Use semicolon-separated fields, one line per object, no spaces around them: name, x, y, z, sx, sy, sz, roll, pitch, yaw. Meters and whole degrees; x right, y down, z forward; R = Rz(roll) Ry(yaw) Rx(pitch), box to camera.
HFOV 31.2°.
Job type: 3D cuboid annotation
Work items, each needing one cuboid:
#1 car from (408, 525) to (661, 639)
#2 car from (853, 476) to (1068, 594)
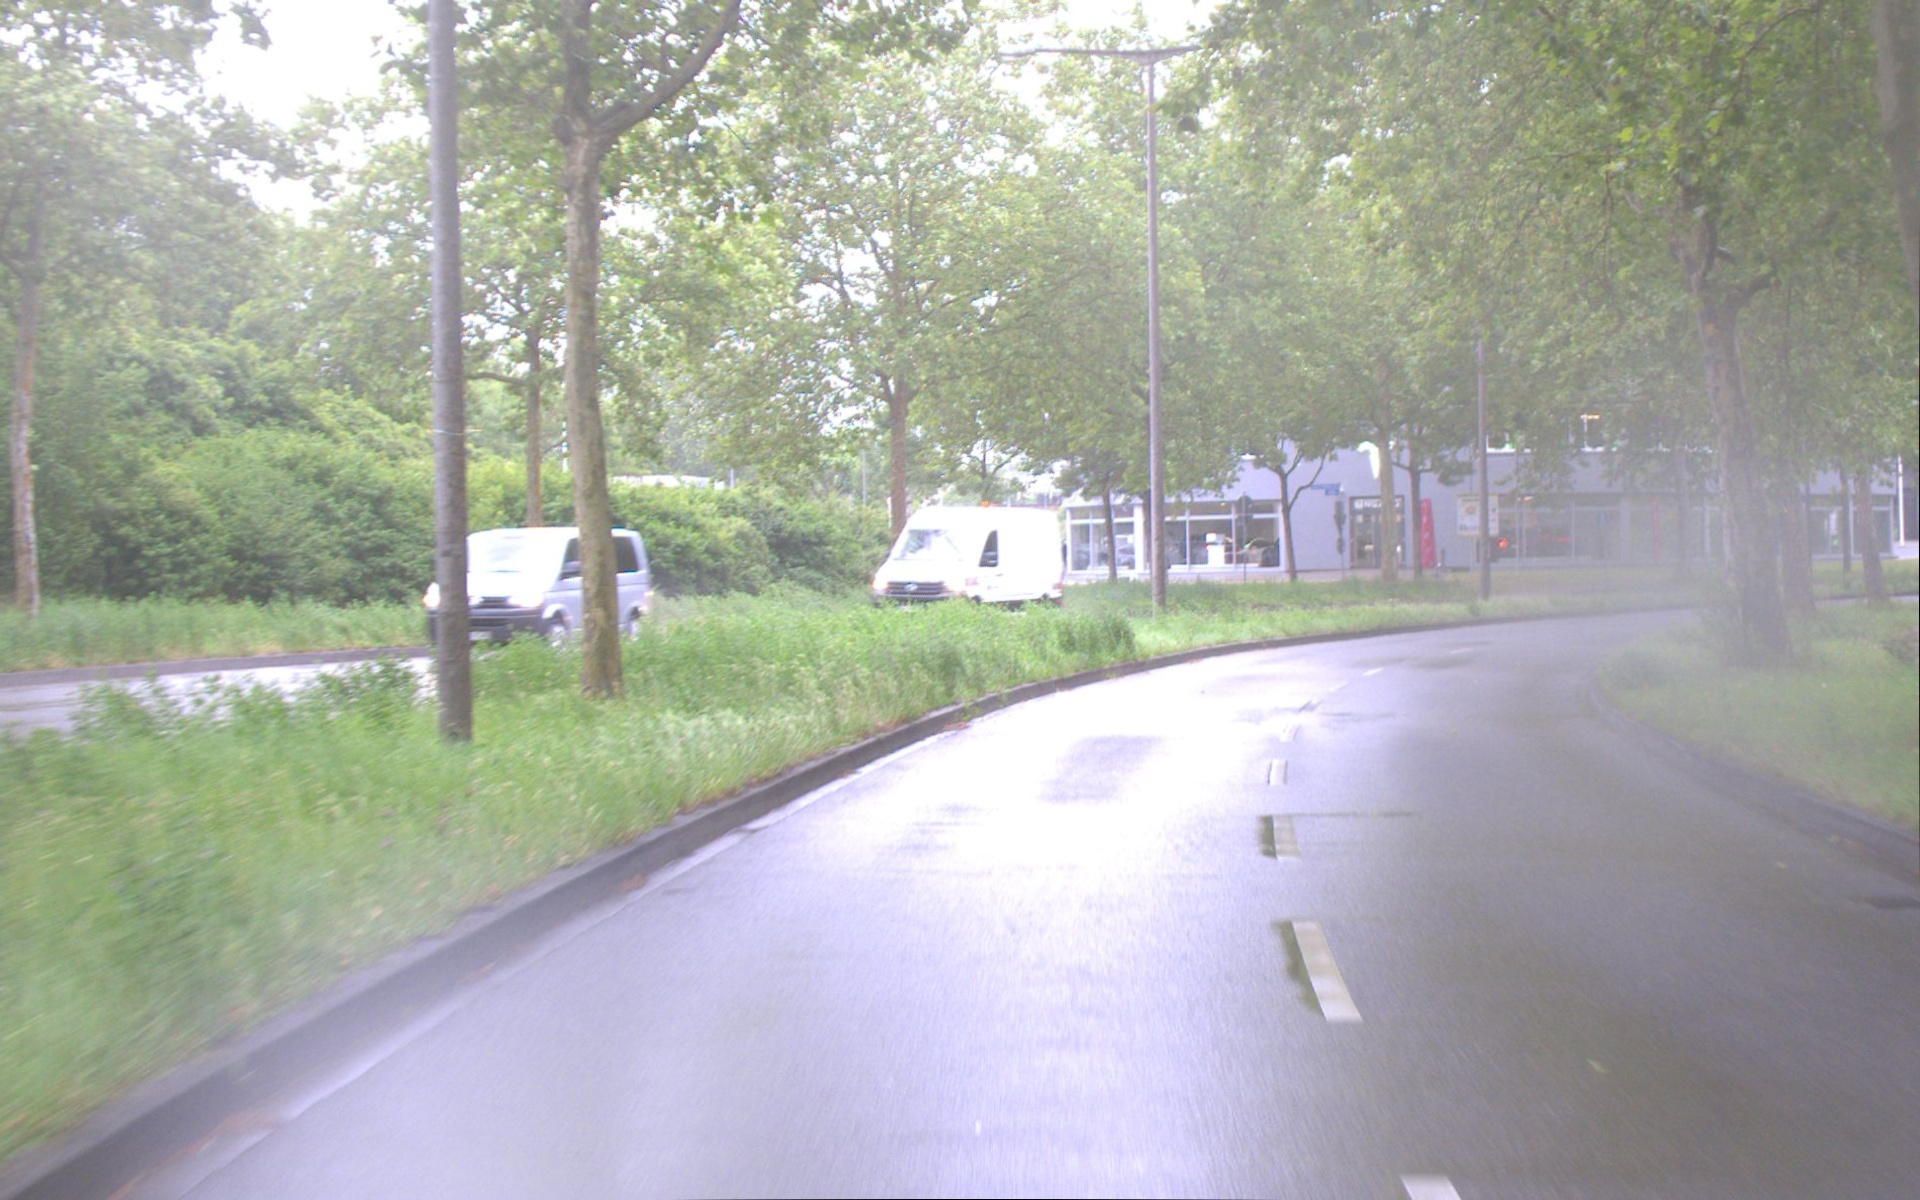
car;-6.246;-0.303;51.034;1.973;1.558;4.727;-1;1;17
car;0.082;-1.335;69.594;2.285;2.264;5.961;-1;1;21
